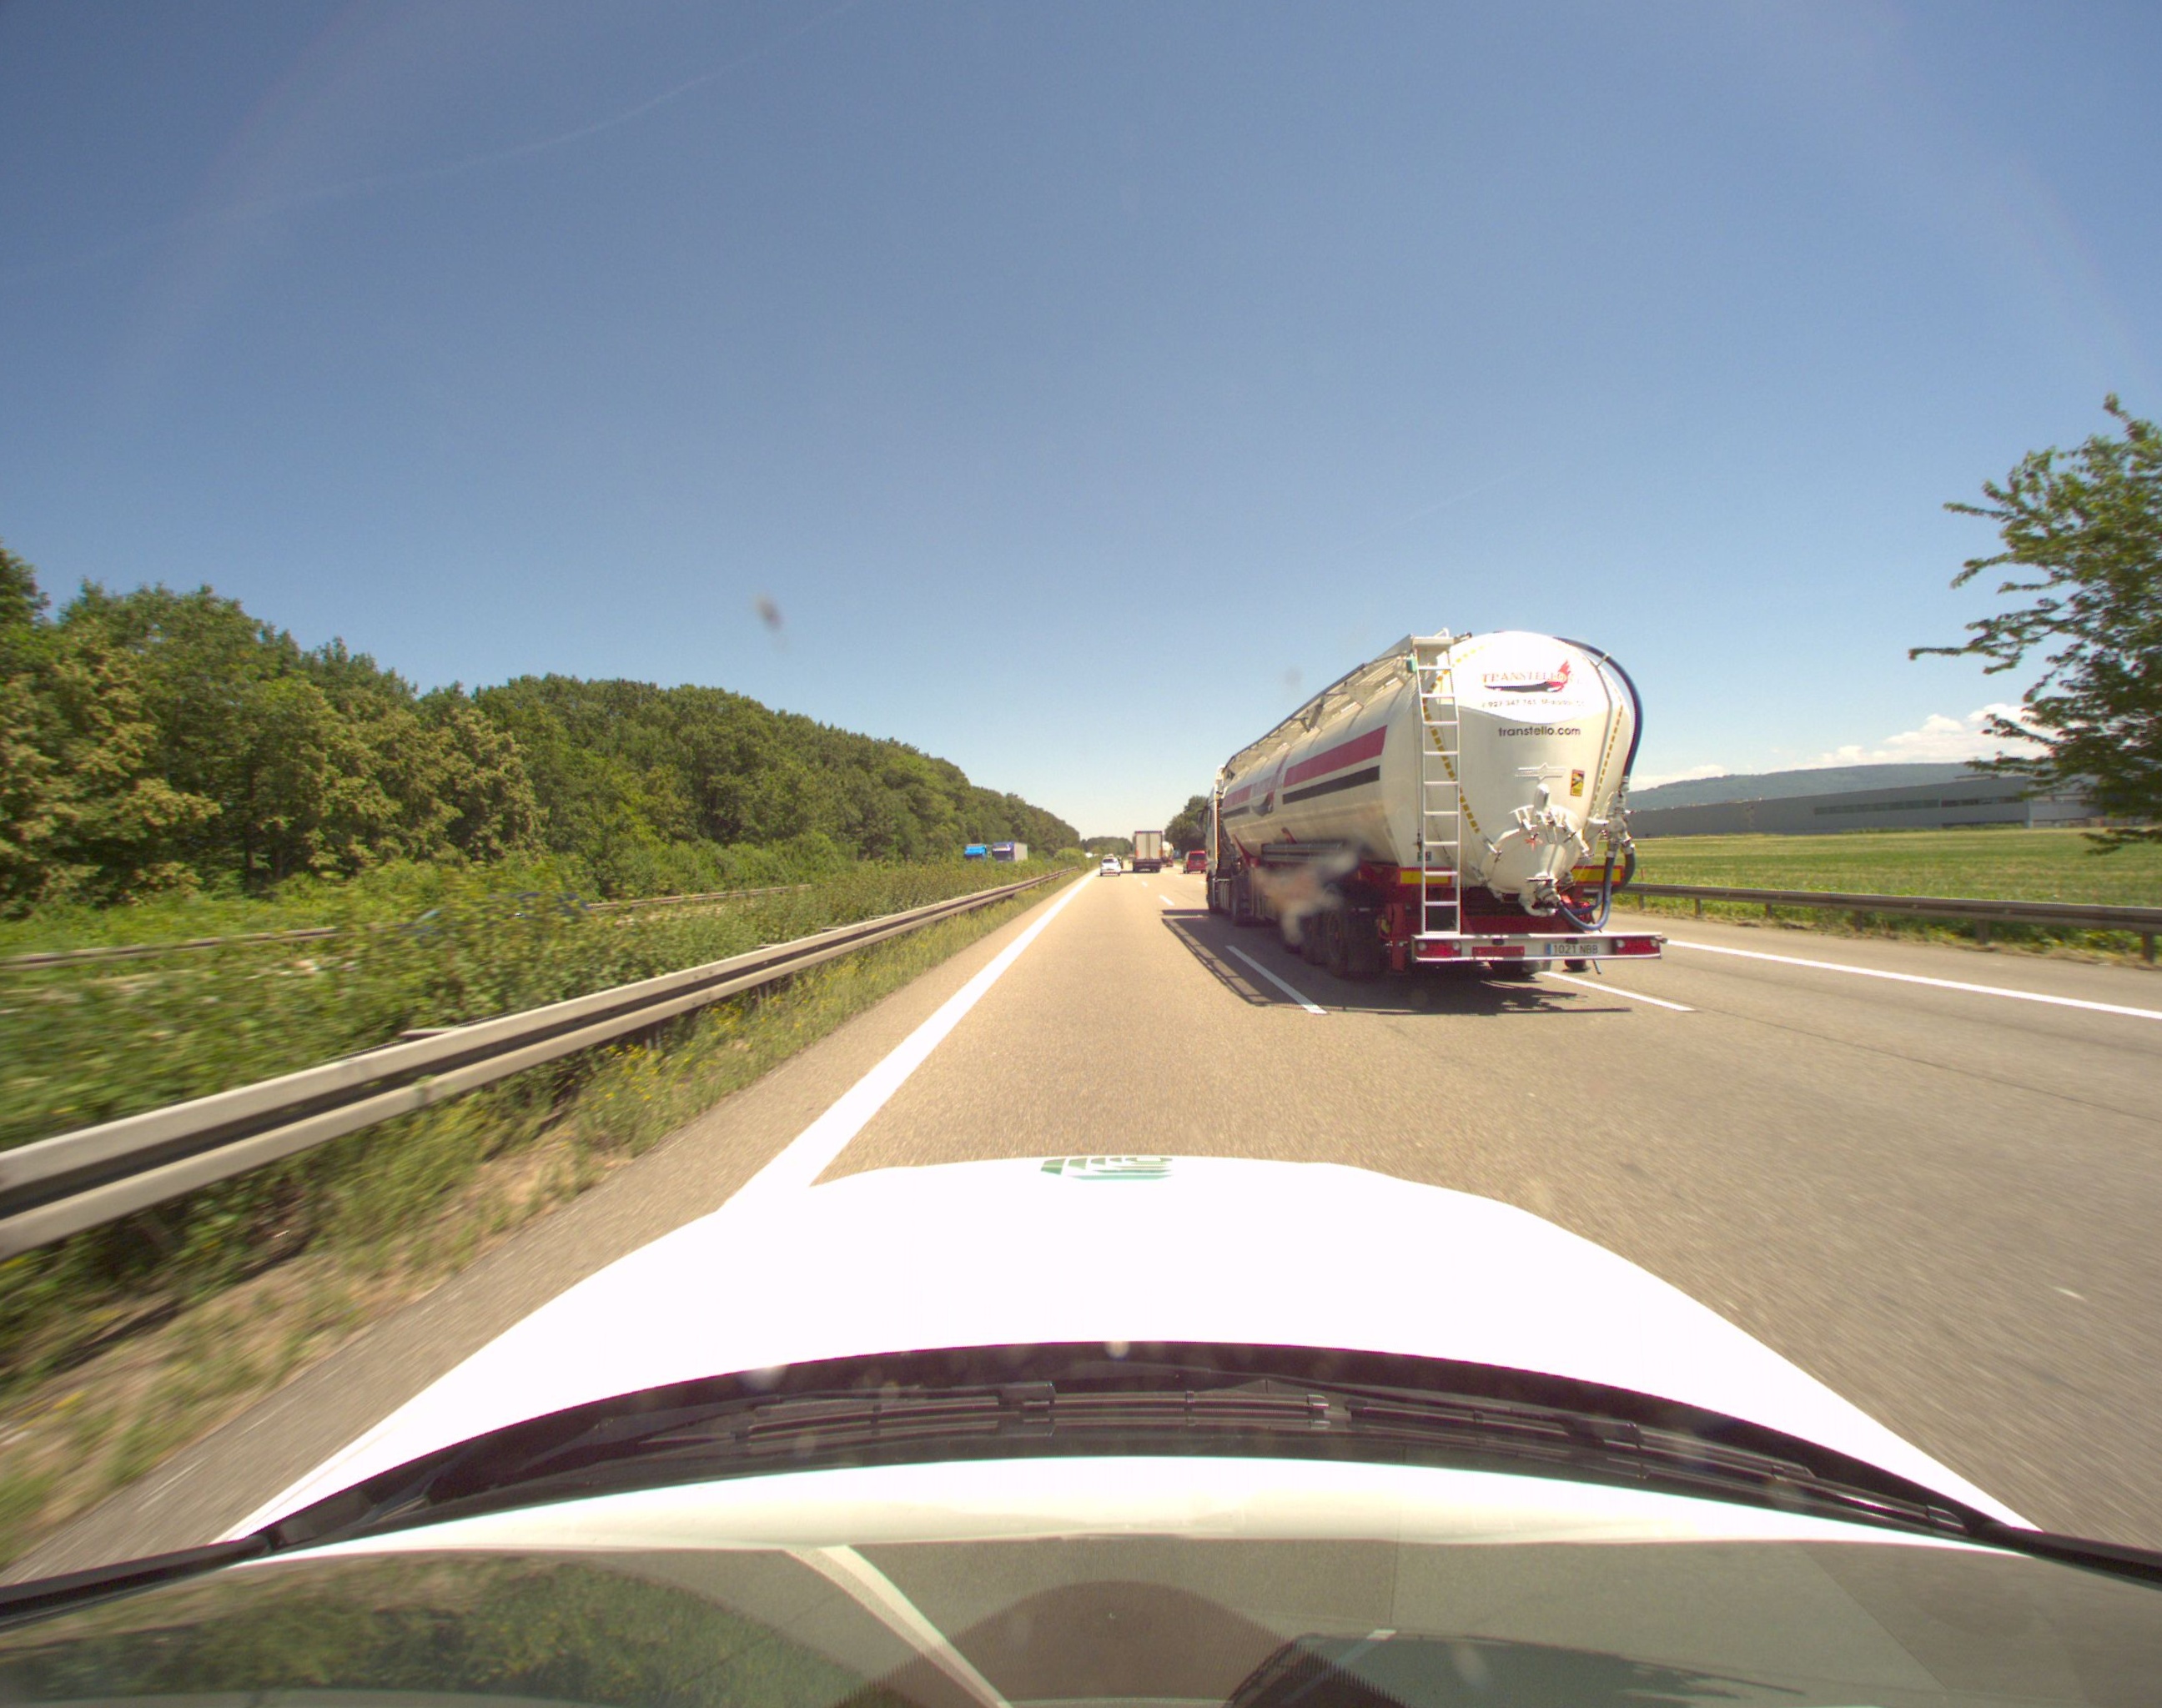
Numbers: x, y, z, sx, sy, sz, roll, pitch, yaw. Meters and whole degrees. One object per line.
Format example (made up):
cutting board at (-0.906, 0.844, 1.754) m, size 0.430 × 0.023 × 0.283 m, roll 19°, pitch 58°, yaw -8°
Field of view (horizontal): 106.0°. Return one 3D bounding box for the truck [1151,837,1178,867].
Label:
truck at (12.872, -0.322, 125.892) m, size 3.212 × 4.345 × 10.809 m, roll -2°, pitch 0°, yaw 1°

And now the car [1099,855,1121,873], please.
car at (2.403, 0.794, 68.216) m, size 1.805 × 1.405 × 3.317 m, roll -2°, pitch 0°, yaw 0°

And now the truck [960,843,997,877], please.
truck at (-13.128, 0.782, 104.943) m, size 3.001 × 4.114 × 10.006 m, roll -2°, pitch 0°, yaw 2°

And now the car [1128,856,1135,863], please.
car at (12.650, 1.417, 204.417) m, size 1.661 × 1.765 × 4.002 m, roll -2°, pitch 0°, yaw 2°

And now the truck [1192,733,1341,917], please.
truck at (4.658, -0.670, 21.453) m, size 2.780 × 4.204 × 5.001 m, roll -2°, pitch 0°, yaw 1°

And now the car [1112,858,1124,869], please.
car at (4.962, 1.266, 109.498) m, size 1.661 × 1.289 × 4.002 m, roll -2°, pitch 0°, yaw 2°

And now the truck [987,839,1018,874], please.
truck at (-9.231, 0.297, 96.562) m, size 2.859 × 4.009 × 5.003 m, roll -2°, pitch 0°, yaw 2°

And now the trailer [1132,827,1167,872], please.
trailer at (6.915, -0.426, 82.933) m, size 3.209 × 4.143 × 12.365 m, roll -2°, pitch 0°, yaw 4°

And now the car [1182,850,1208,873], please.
car at (10.369, 0.671, 74.354) m, size 1.848 × 2.003 × 5.525 m, roll 0°, pitch 0°, yaw 2°

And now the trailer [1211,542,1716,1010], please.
trailer at (4.469, -0.700, 13.614) m, size 2.780 × 4.204 × 12.355 m, roll -2°, pitch 0°, yaw 1°
